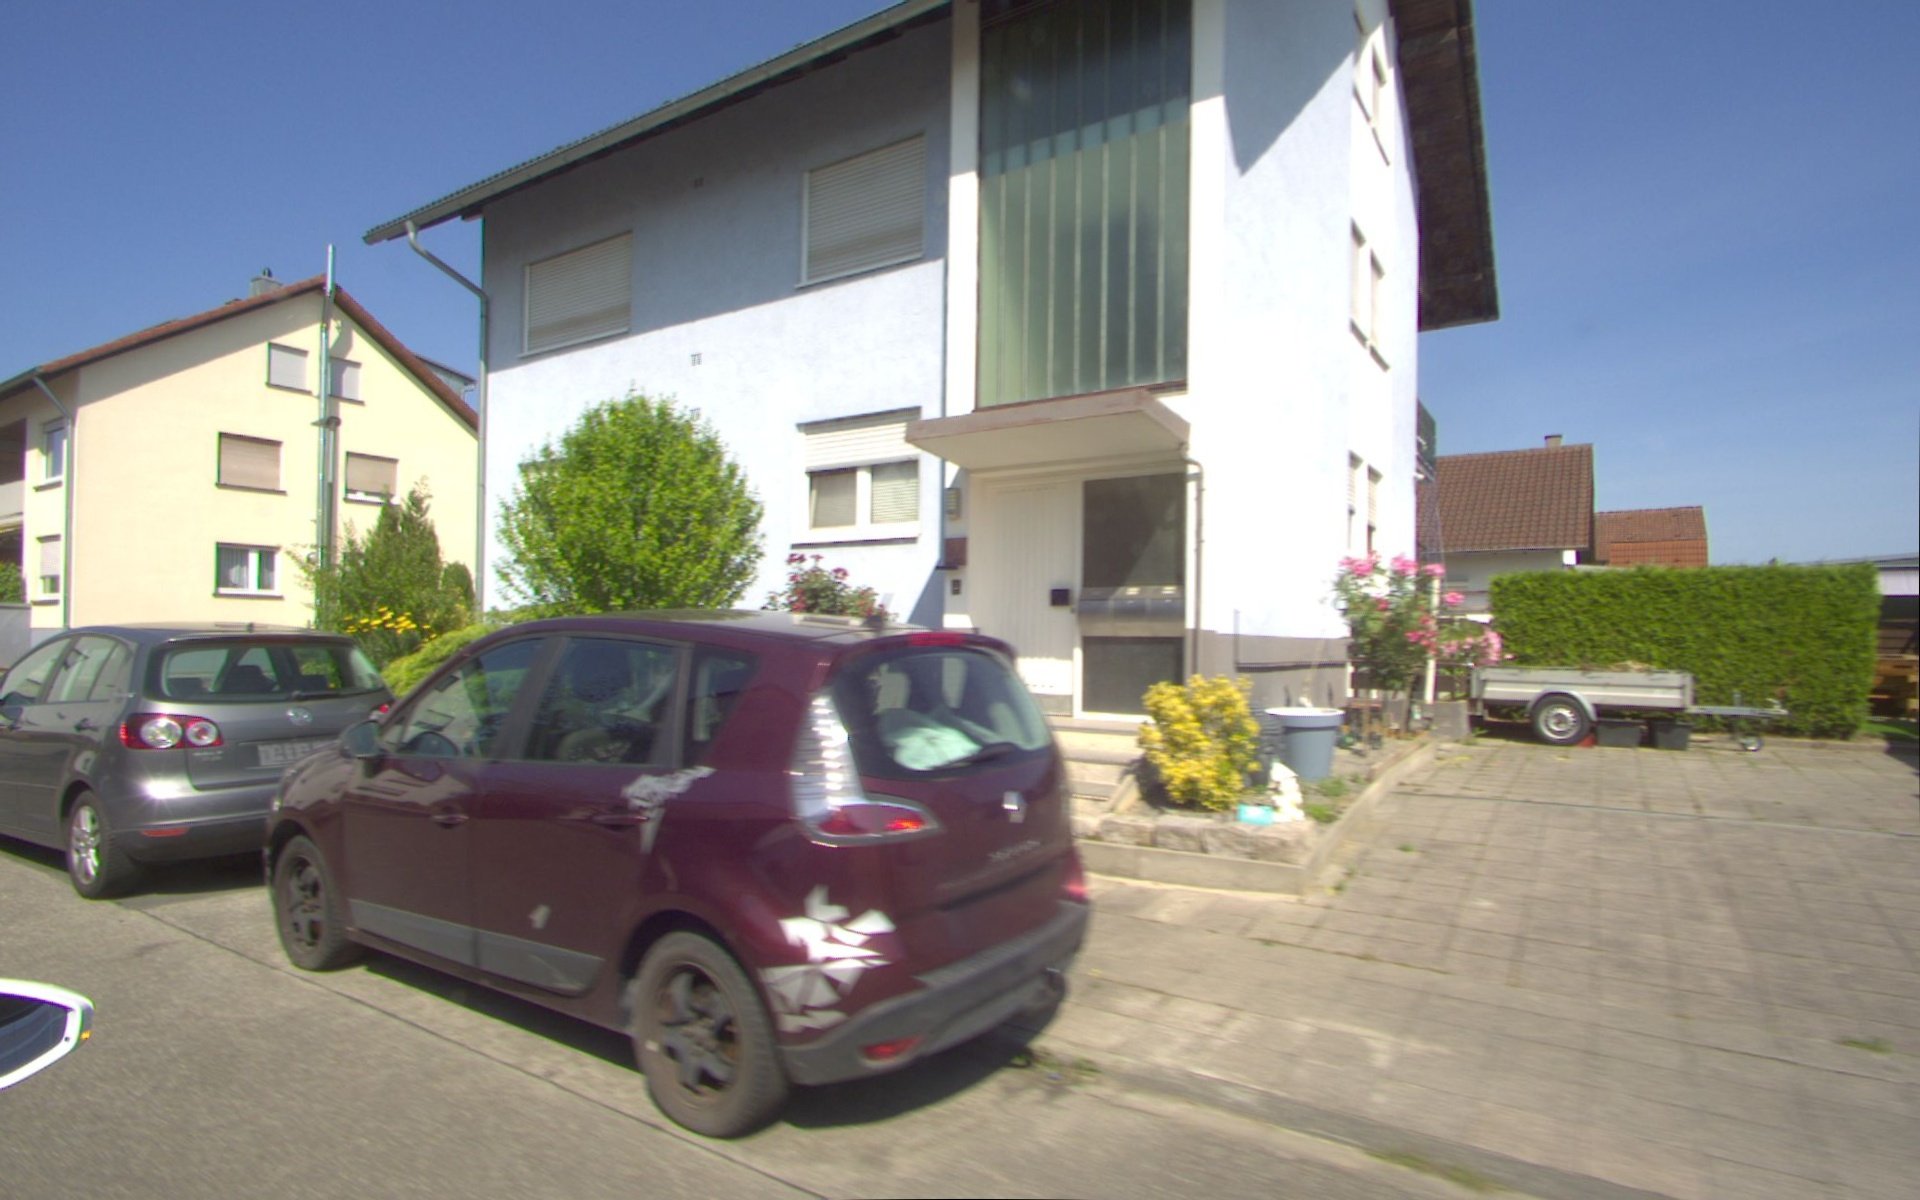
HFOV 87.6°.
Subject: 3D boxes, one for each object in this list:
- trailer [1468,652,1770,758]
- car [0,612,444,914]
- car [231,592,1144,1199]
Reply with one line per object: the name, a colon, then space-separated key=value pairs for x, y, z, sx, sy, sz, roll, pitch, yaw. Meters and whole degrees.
trailer: x=7.191 y=1.090 z=11.069 sx=2.647 sy=0.958 sz=1.324 roll=-1 pitch=-2 yaw=36
car: x=-5.568 y=0.923 z=7.019 sx=3.990 sy=1.564 sz=1.643 roll=0 pitch=-4 yaw=33
car: x=-1.421 y=0.825 z=4.423 sx=4.091 sy=1.601 sz=1.641 roll=0 pitch=-2 yaw=35
